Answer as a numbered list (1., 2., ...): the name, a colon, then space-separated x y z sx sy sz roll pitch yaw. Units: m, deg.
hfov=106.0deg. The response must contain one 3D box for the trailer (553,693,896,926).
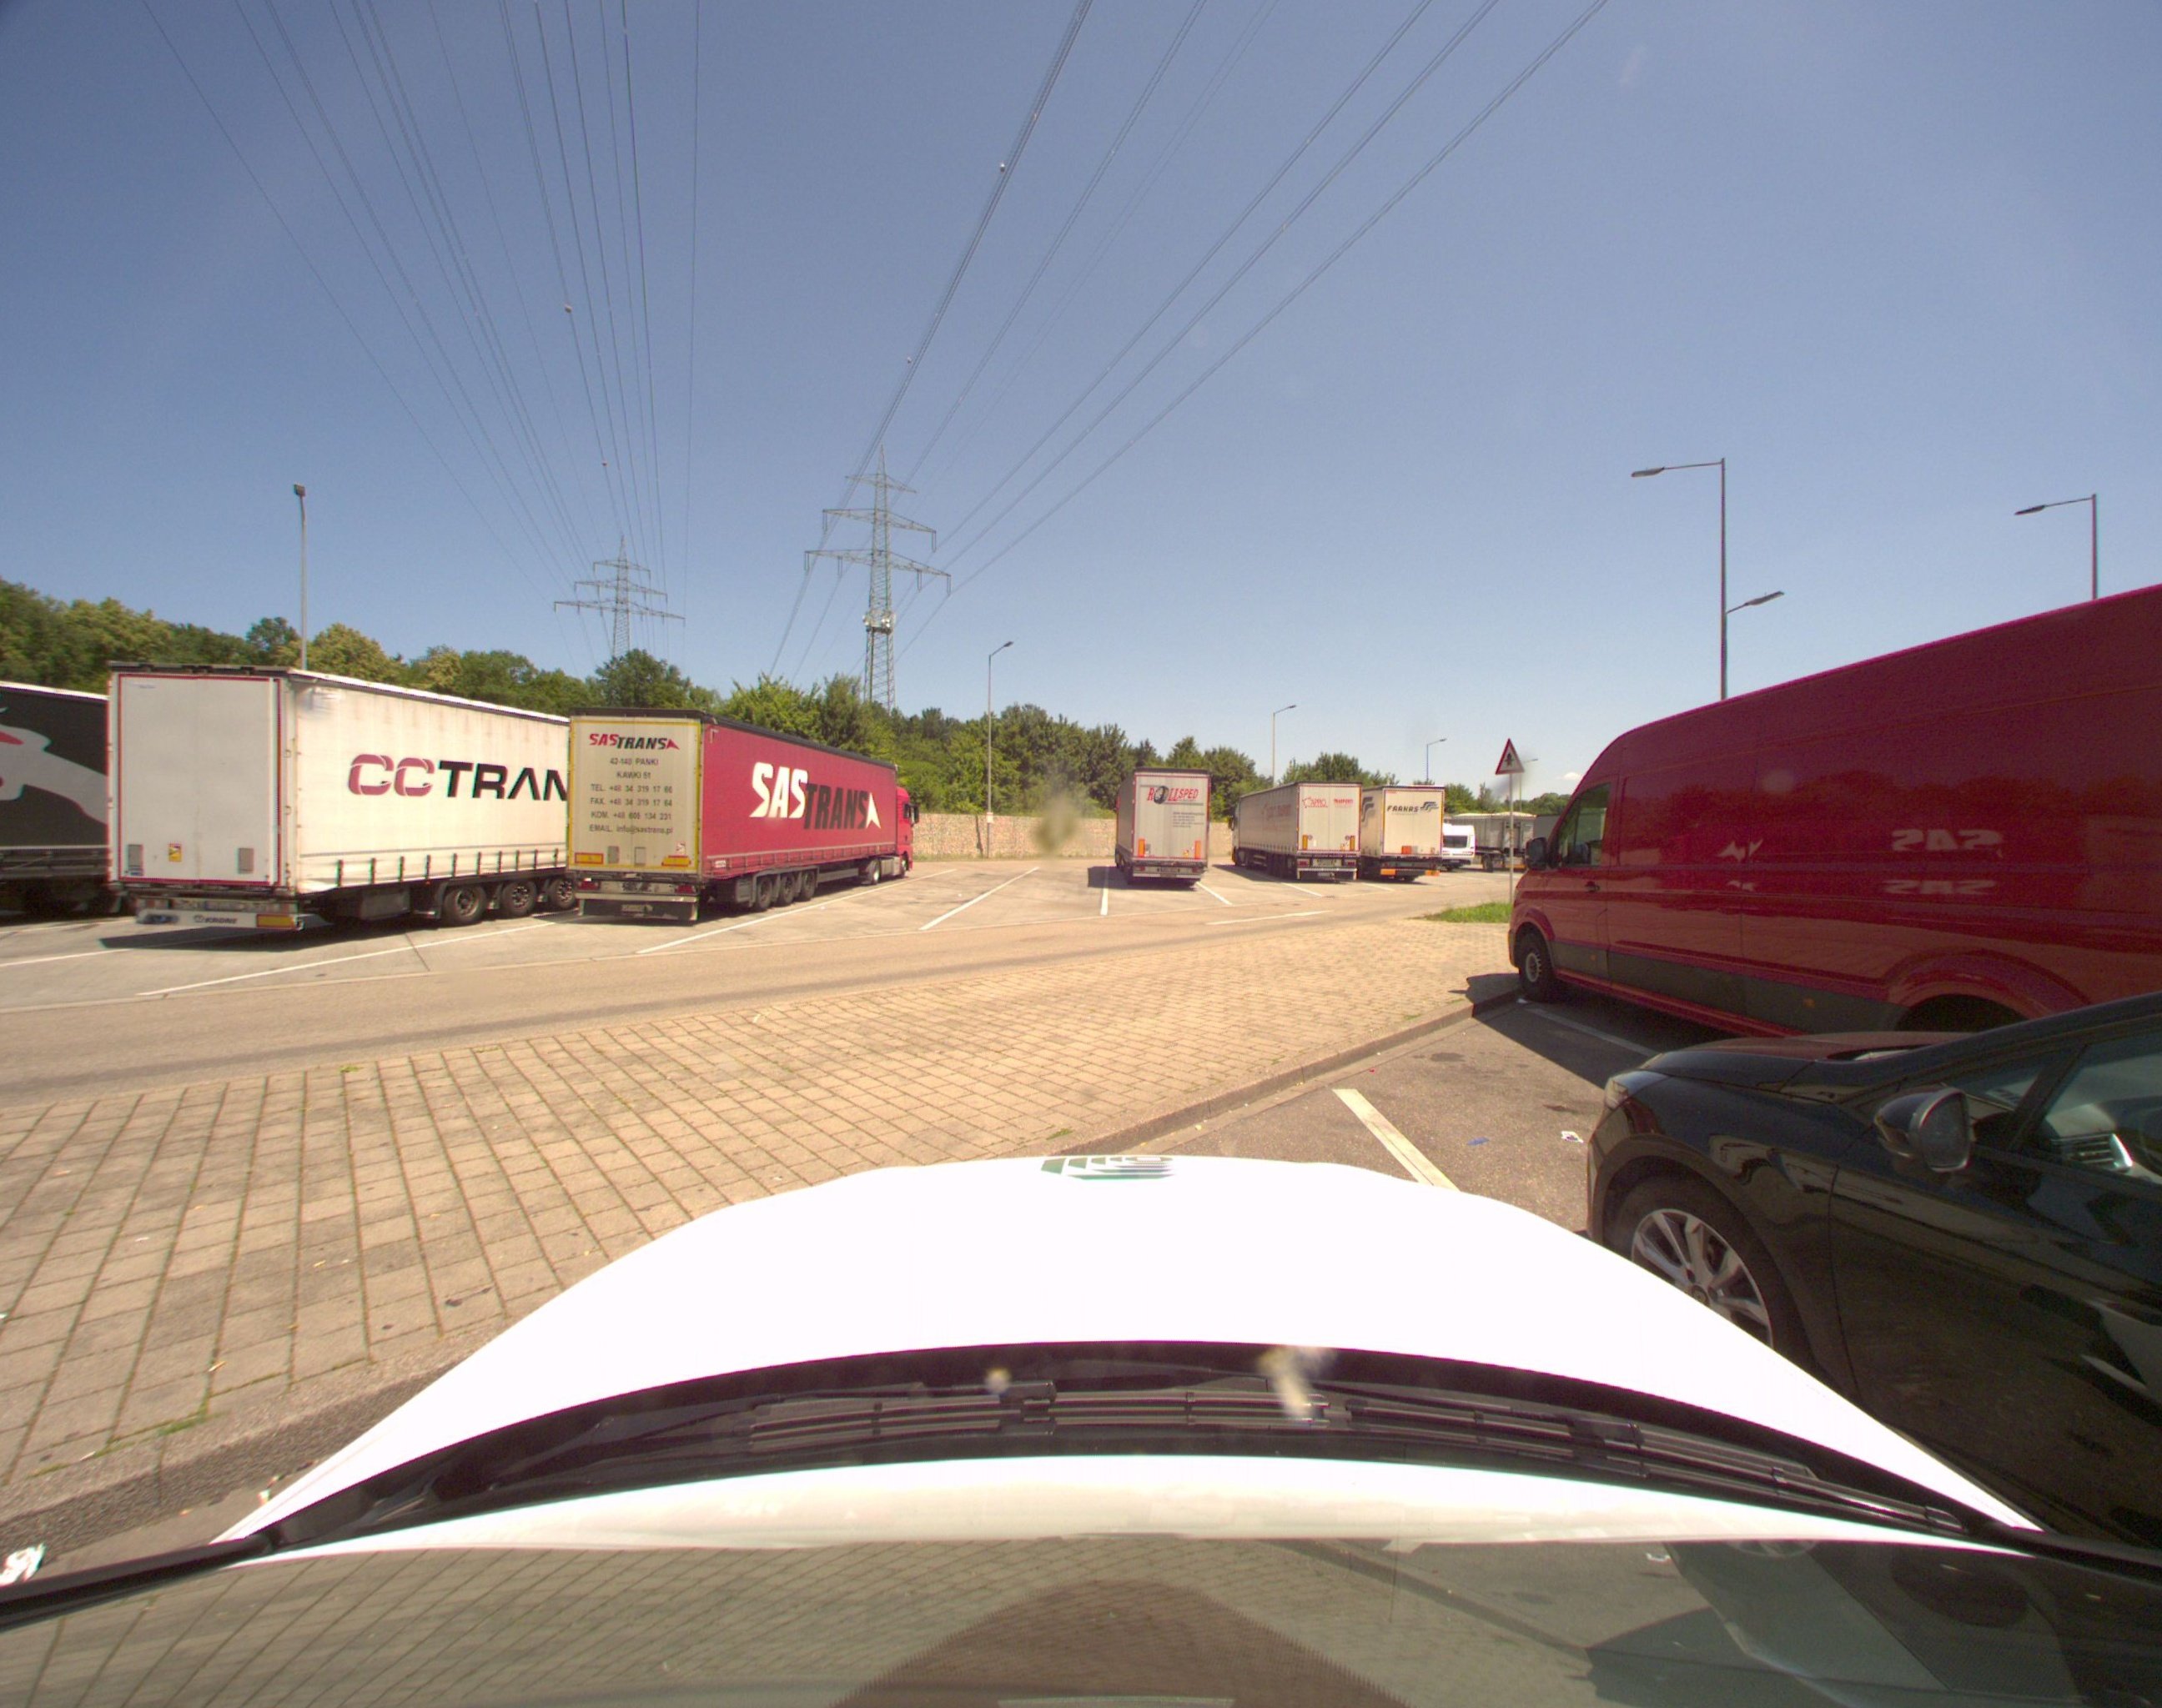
1. trailer: -8.001 -0.897 21.462 2.789 4.219 13.208 -1 1 2

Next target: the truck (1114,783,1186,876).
1. truck: 3.058 -1.094 37.823 2.862 3.980 6.030 -1 1 0

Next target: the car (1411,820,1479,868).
1. car: 20.535 -0.529 46.139 2.107 2.599 4.001 0 -1 2

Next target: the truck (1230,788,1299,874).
1. truck: 10.073 -1.240 45.174 2.651 4.452 5.866 -1 1 2

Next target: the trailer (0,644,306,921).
1. trailer: -18.565 -1.157 14.896 2.668 4.444 6.151 -1 1 2

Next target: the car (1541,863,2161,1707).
1. car: 2.548 0.750 0.934 1.773 1.457 3.680 0 -1 -4

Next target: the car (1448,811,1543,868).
1. car: 24.133 -0.834 47.761 2.490 3.074 6.353 -1 1 2

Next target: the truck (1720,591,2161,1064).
1. truck: 7.793 -0.158 6.029 2.508 2.827 4.821 0 -1 3

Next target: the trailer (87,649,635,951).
1. trailer: -12.188 -0.808 15.370 2.744 4.152 8.291 0 1 2

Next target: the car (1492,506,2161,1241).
1. car: 5.122 0.025 5.512 1.984 2.633 6.393 -1 1 5

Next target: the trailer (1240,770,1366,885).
1. trailer: 9.902 -1.122 38.211 2.672 4.452 12.833 -1 1 1

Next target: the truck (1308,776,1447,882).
1. truck: 13.532 -0.949 38.615 2.577 4.226 11.974 0 -1 2

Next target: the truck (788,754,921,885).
1. truck: -7.752 -1.137 28.718 2.795 4.133 5.896 -1 1 2

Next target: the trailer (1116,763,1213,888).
1. trailer: 2.975 -1.007 32.167 2.887 4.013 11.320 -1 1 1
